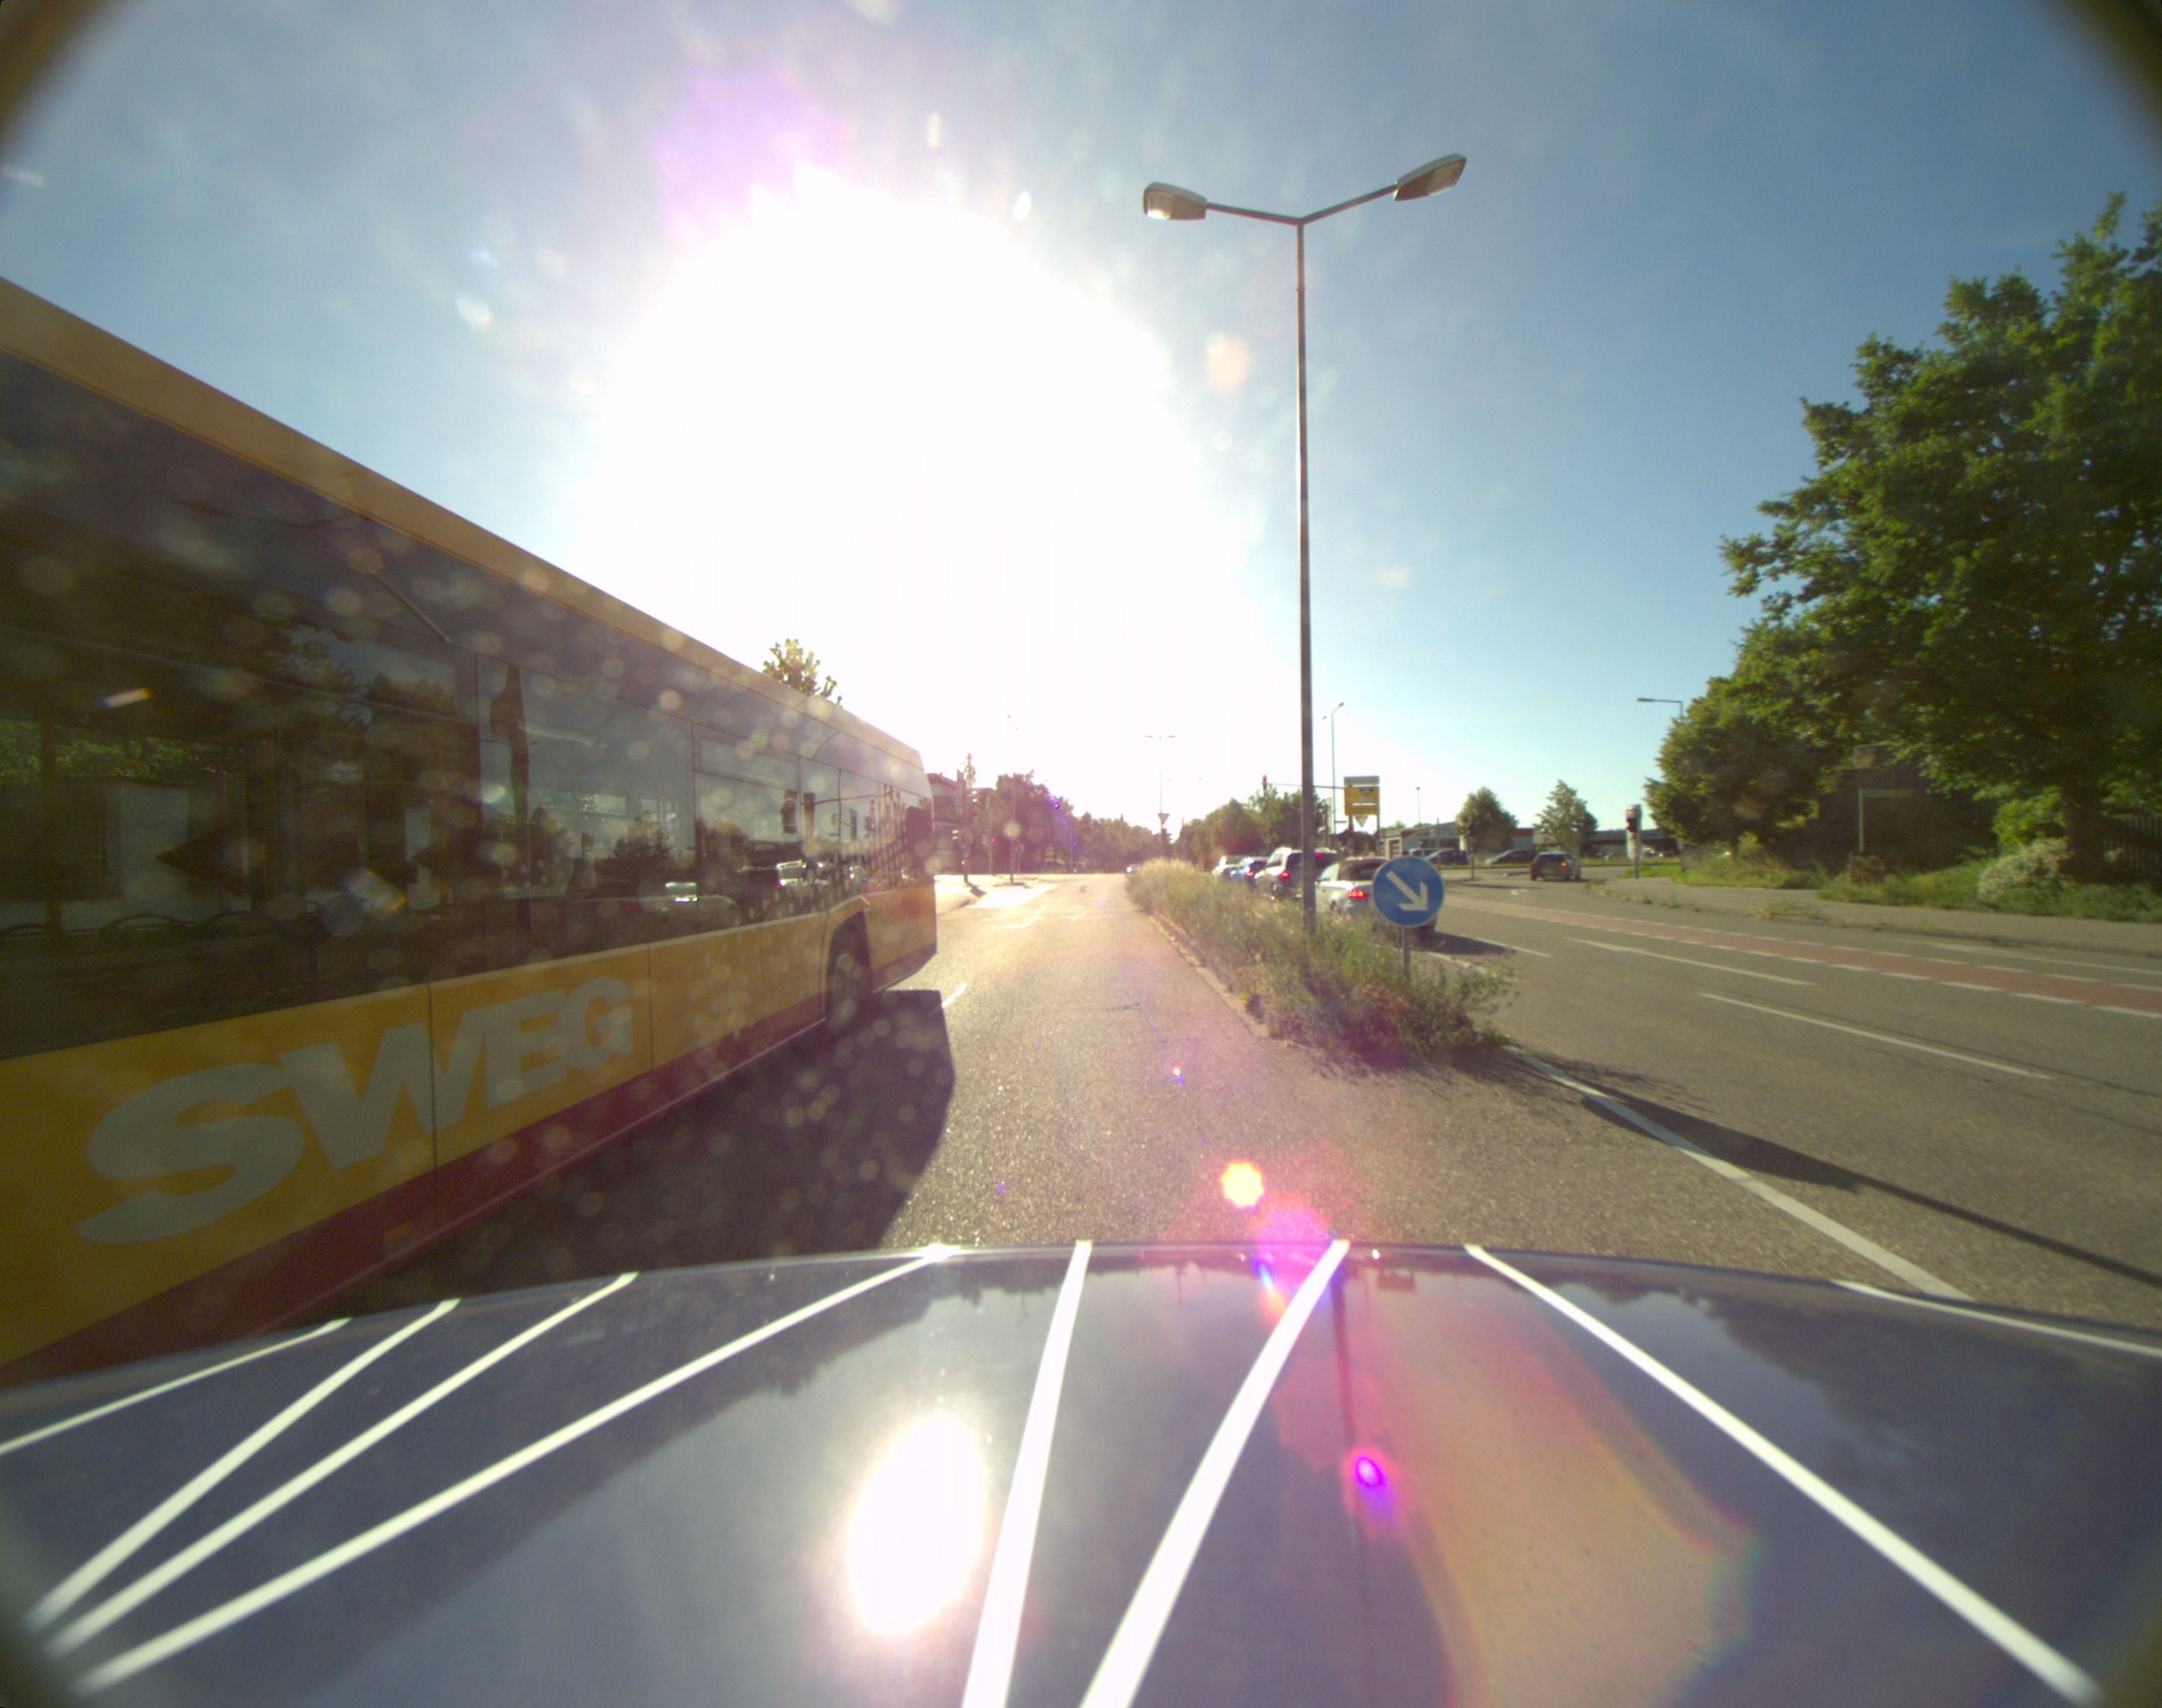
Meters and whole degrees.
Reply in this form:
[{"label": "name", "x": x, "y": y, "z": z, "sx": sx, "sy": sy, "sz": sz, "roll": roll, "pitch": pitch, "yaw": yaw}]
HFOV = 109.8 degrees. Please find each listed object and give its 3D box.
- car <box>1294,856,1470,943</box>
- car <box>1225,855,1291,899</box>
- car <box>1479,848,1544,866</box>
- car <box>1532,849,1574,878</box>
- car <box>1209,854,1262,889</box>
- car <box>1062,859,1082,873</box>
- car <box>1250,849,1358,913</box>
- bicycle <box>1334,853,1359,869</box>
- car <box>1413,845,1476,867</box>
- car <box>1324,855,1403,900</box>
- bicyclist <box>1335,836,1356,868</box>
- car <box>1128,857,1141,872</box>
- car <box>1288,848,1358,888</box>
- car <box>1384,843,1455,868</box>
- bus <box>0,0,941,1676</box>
[{"label": "car", "x": 5.694, "y": 0.782, "z": 15.040, "sx": 1.998, "sy": 1.442, "sz": 4.400, "roll": -1, "pitch": 0, "yaw": 4}, {"label": "car", "x": 6.311, "y": 0.783, "z": 27.474, "sx": 1.750, "sy": 1.474, "sz": 3.889, "roll": -1, "pitch": 0, "yaw": 5}, {"label": "car", "x": 33.689, "y": 0.248, "z": 59.538, "sx": 4.036, "sy": 1.267, "sz": 1.894, "roll": -1, "pitch": -2, "yaw": 0}, {"label": "car", "x": 24.038, "y": 0.456, "z": 38.733, "sx": 1.710, "sy": 1.422, "sz": 4.008, "roll": 1, "pitch": 0, "yaw": 31}, {"label": "car", "x": 6.933, "y": 0.757, "z": 34.502, "sx": 1.797, "sy": 1.497, "sz": 4.532, "roll": -1, "pitch": 0, "yaw": 5}, {"label": "car", "x": -1.022, "y": 1.349, "z": 86.477, "sx": 1.775, "sy": 1.477, "sz": 4.218, "roll": 0, "pitch": -1, "yaw": 7}, {"label": "car", "x": 6.169, "y": 0.704, "z": 21.594, "sx": 1.998, "sy": 1.606, "sz": 4.532, "roll": -1, "pitch": 0, "yaw": 4}, {"label": "bicycle", "x": 14.422, "y": 0.369, "z": 41.286, "sx": 0.750, "sy": 0.842, "sz": 1.991, "roll": -1, "pitch": 0, "yaw": 4}, {"label": "car", "x": 28.410, "y": 0.161, "z": 59.479, "sx": 4.036, "sy": 1.634, "sz": 1.894, "roll": -1, "pitch": -2, "yaw": 0}, {"label": "car", "x": 9.901, "y": 0.791, "z": 26.867, "sx": 1.649, "sy": 1.474, "sz": 3.715, "roll": -1, "pitch": 0, "yaw": 5}, {"label": "bicyclist", "x": 14.430, "y": -0.119, "z": 41.419, "sx": 0.746, "sy": 1.692, "sz": 1.242, "roll": -1, "pitch": 0, "yaw": 4}, {"label": "car", "x": 7.540, "y": 1.467, "z": 107.068, "sx": 1.729, "sy": 2.002, "sz": 4.001, "roll": 0, "pitch": 0, "yaw": 3}, {"label": "car", "x": 10.656, "y": 0.596, "z": 33.799, "sx": 1.998, "sy": 1.634, "sz": 4.532, "roll": -1, "pitch": 0, "yaw": 5}, {"label": "car", "x": 29.546, "y": 0.126, "z": 66.378, "sx": 5.271, "sy": 2.001, "sz": 2.049, "roll": -1, "pitch": -2, "yaw": 0}, {"label": "bus", "x": -3.489, "y": -0.082, "z": 3.863, "sx": 2.764, "sy": 3.438, "sz": 12.397, "roll": 0, "pitch": 1, "yaw": 2}]
